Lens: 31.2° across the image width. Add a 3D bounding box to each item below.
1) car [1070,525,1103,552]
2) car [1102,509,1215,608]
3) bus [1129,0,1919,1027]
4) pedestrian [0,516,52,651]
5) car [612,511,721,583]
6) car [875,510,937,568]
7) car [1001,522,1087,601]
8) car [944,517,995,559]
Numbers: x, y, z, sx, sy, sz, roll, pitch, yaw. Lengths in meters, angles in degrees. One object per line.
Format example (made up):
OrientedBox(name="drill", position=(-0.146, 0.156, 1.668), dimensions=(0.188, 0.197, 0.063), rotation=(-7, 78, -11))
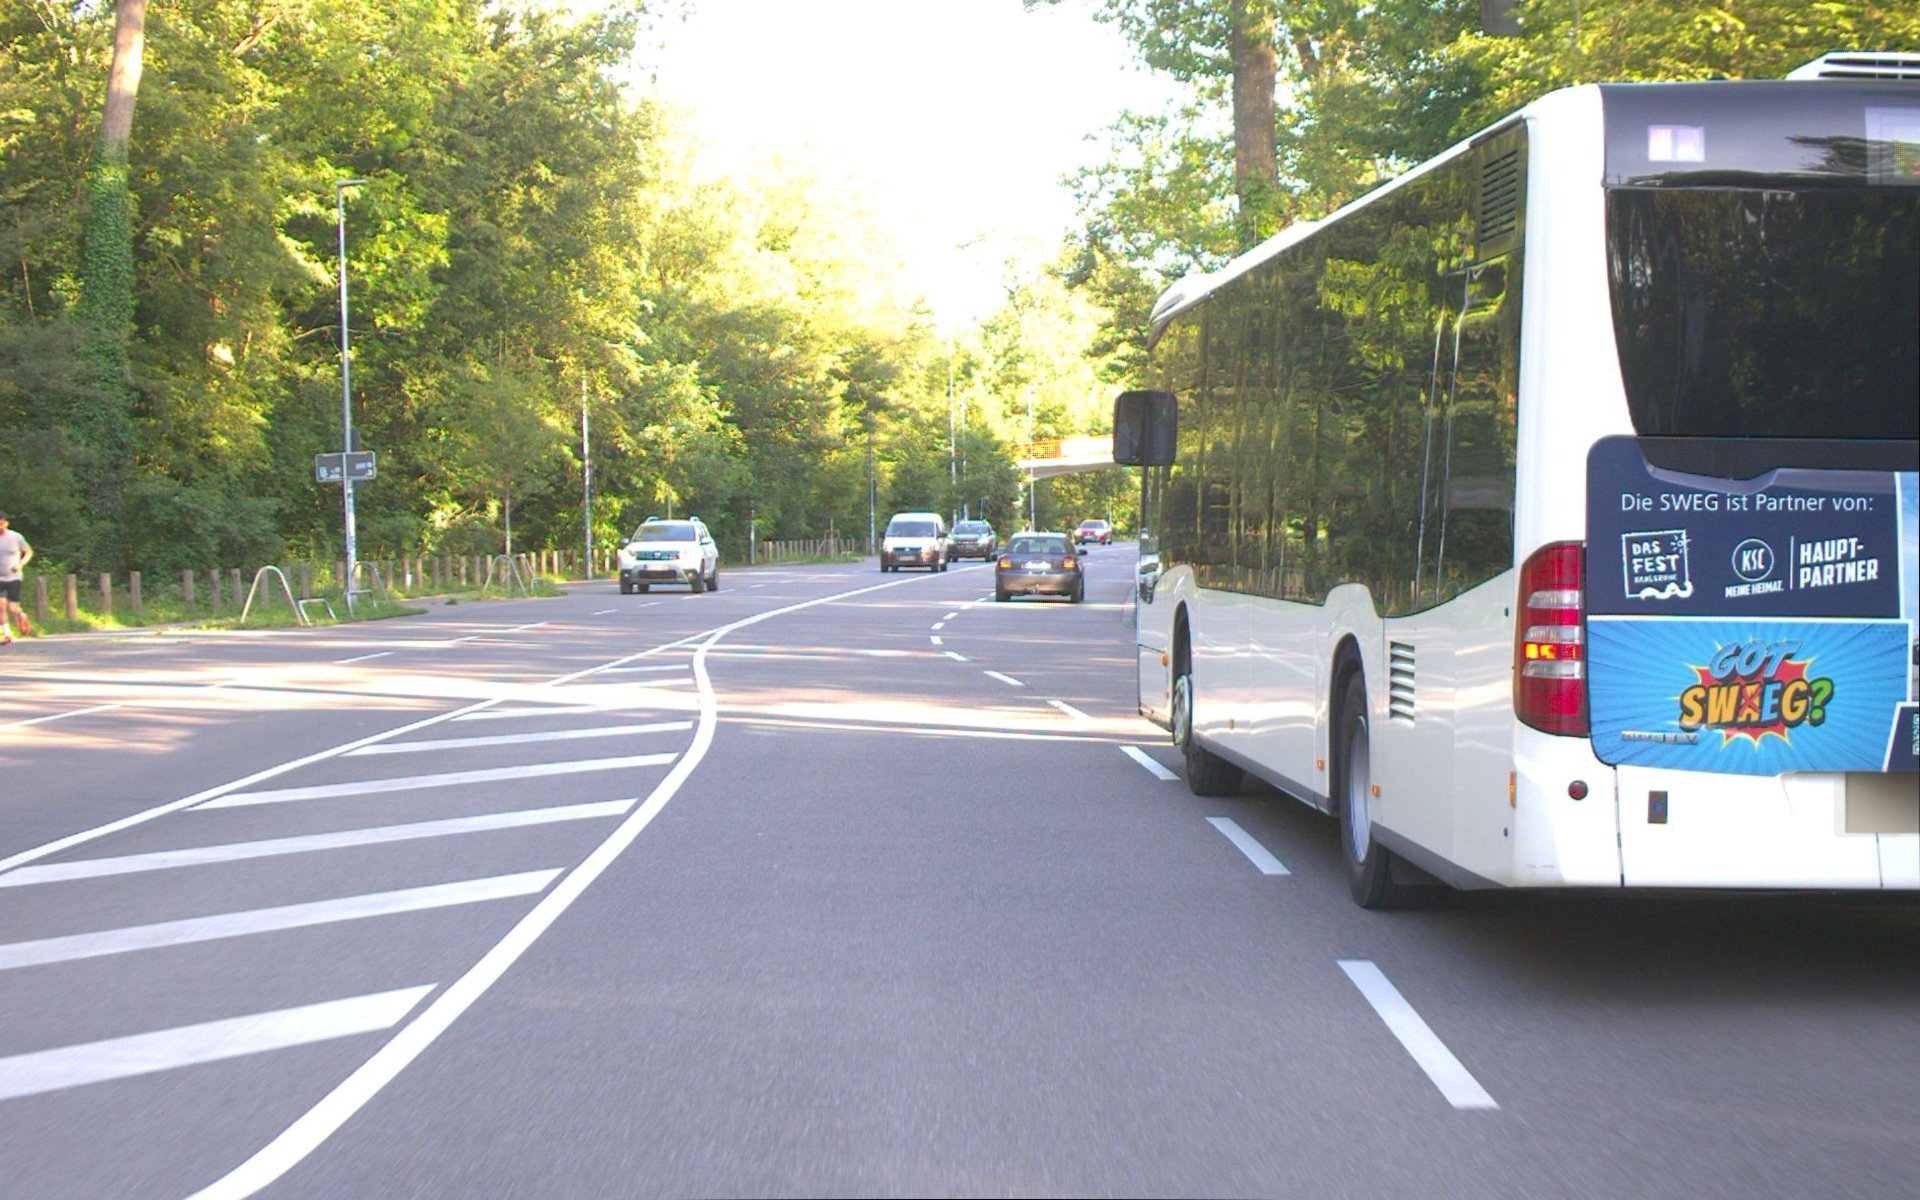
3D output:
OrientedBox(name="car", position=(7.480, -3.617, 204.058), dimensions=(1.863, 1.560, 4.000), rotation=(0, 1, 1))
OrientedBox(name="car", position=(3.492, -0.717, 59.911), dimensions=(1.632, 1.653, 4.130), rotation=(1, 1, 8))
OrientedBox(name="bus", position=(2.694, -0.314, 16.205), dimensions=(2.689, 3.032, 12.042), rotation=(0, 1, -2))
OrientedBox(name="pedestrian", position=(-12.779, -0.232, 46.531), dimensions=(0.779, 1.806, 0.770), rotation=(0, 1, -1))
OrientedBox(name="car", position=(-6.458, -1.158, 75.930), dimensions=(1.863, 1.532, 4.131), rotation=(0, 1, 3))
OrientedBox(name="car", position=(-1.635, -1.867, 105.963), dimensions=(1.863, 1.723, 4.000), rotation=(0, 1, 0))
OrientedBox(name="car", position=(1.721, -0.779, 69.422), dimensions=(1.632, 1.542, 4.131), rotation=(0, 1, 3))
OrientedBox(name="car", position=(0.363, -2.321, 129.810), dimensions=(1.863, 1.560, 4.000), rotation=(0, 1, 1))
